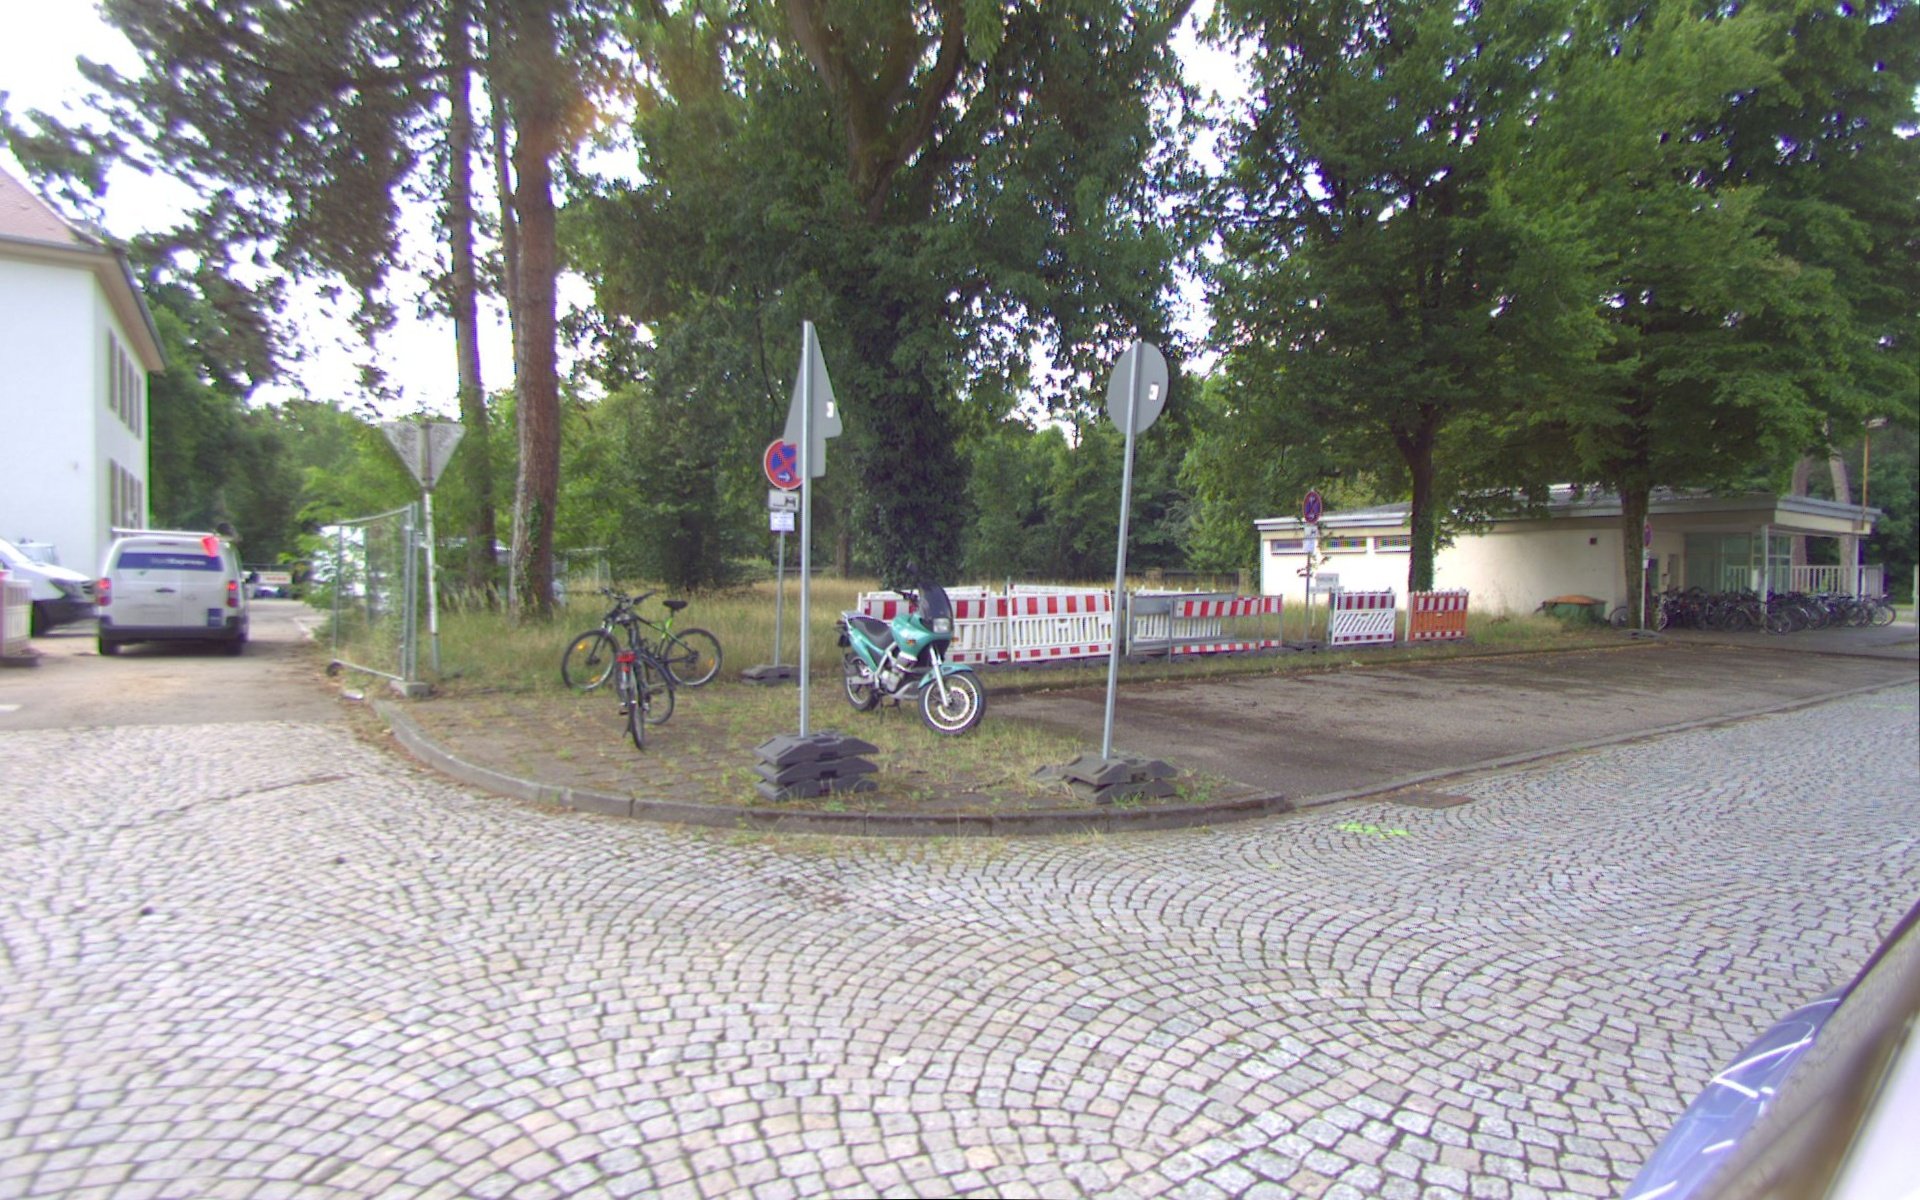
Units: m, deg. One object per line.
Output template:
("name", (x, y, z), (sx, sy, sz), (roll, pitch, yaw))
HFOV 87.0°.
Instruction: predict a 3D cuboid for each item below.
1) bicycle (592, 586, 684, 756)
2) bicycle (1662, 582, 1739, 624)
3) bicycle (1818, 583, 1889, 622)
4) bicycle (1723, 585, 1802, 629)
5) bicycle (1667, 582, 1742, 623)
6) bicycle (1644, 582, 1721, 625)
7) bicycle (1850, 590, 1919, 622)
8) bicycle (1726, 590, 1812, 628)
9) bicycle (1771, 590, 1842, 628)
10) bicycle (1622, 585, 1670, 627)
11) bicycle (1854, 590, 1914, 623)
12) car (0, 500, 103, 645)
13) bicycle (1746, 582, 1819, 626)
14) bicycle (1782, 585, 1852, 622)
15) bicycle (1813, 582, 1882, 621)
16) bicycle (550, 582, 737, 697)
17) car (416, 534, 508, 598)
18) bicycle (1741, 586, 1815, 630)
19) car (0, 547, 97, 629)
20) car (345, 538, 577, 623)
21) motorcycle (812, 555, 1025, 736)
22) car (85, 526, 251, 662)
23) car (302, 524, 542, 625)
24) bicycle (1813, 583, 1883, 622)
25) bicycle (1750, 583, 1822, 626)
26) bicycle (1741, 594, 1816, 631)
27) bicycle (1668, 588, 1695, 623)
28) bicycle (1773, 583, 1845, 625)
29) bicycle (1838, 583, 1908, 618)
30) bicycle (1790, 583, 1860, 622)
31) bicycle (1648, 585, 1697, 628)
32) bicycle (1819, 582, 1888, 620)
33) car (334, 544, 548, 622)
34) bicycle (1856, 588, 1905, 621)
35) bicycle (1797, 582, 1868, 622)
("bicycle", (-2.644, 0.505, 8.374), (0.642, 1.212, 1.909), (0, 1, -17))
("bicycle", (22.301, 0.066, 30.505), (0.597, 1.179, 1.744), (0, 3, -40))
("bicycle", (28.288, 0.056, 32.056), (0.320, 1.155, 1.615), (0, 3, -43))
("bicycle", (22.287, 0.180, 28.132), (1.675, 1.122, 0.333), (3, 3, 41))
("bicycle", (22.920, 0.053, 31.190), (0.597, 1.179, 1.744), (0, 3, -40))
("bicycle", (21.412, 0.083, 30.013), (0.597, 1.179, 1.744), (0, 3, -40))
("bicycle", (30.703, 0.190, 33.565), (1.725, 1.059, 0.452), (0, 0, 16))
("bicycle", (22.889, 0.233, 28.684), (1.727, 0.988, 0.753), (2, 2, 24))
("bicycle", (25.986, 0.261, 31.079), (1.628, 1.063, 0.329), (3, 3, 40))
("bicycle", (19.100, 0.151, 28.175), (1.605, 1.130, 0.598), (0, 2, -38))
("bicycle", (30.201, 0.214, 33.102), (1.393, 1.059, 0.336), (0, 1, 28))
("car", (-19.145, -0.462, 17.952), (5.797, 2.588, 2.000), (-1, 0, -34))
("bicycle", (24.341, 0.104, 29.982), (1.629, 1.204, 0.413), (3, 3, 42))
("bicycle", (26.506, 0.085, 31.332), (0.320, 1.063, 1.593), (0, 3, -43))
("bicycle", (28.498, 0.032, 32.519), (0.350, 1.155, 1.615), (0, 3, -43))
("bicycle", (-3.517, 0.413, 11.316), (1.868, 1.184, 0.644), (1, 1, -34))
("car", (-18.443, -1.176, 37.270), (2.170, 2.122, 6.162), (-1, 0, -34))
("bicycle", (23.930, 0.224, 29.625), (1.628, 1.204, 0.466), (3, 3, 41))
("car", (-22.990, -0.257, 23.108), (4.782, 1.848, 2.000), (-1, 0, -35))
("car", (-11.879, -0.440, 24.488), (1.980, 1.848, 4.829), (-1, 0, 27))
("motorcycle", (-0.451, 0.342, 9.481), (0.743, 1.503, 2.281), (0, 2, -40))
("car", (-13.105, -0.120, 17.020), (1.870, 1.945, 4.875), (1, 0, -35))
("car", (-15.474, -0.694, 29.653), (1.978, 2.610, 6.370), (-1, 0, 24))
("bicycle", (27.952, 0.062, 31.876), (0.320, 1.155, 1.615), (0, 3, -43))
("bicycle", (24.793, 0.121, 30.382), (1.629, 1.204, 0.413), (3, 3, 42))
("bicycle", (23.537, 0.340, 29.119), (1.617, 0.988, 0.320), (2, 2, 25))
("bicycle", (23.279, 0.167, 32.637), (0.478, 1.089, 1.656), (3, 3, 42))
("bicycle", (25.629, 0.107, 30.570), (1.629, 1.204, 0.491), (3, 3, 42))
("bicycle", (30.784, 0.005, 34.144), (1.714, 1.146, 0.472), (0, 0, 14))
("bicycle", (26.908, 0.060, 31.506), (0.320, 1.155, 1.593), (0, 3, -43))
("bicycle", (19.490, 0.173, 27.679), (1.605, 1.130, 0.598), (0, 2, -38))
("bicycle", (29.019, 0.020, 32.887), (0.350, 1.155, 1.615), (0, 3, -43))
("car", (-13.544, -0.424, 26.749), (1.980, 1.848, 4.829), (-1, 0, 27))
("bicycle", (29.873, 0.137, 32.845), (1.145, 1.076, 0.284), (0, 1, 34))
("bicycle", (27.458, 0.050, 31.869), (0.320, 1.155, 1.615), (0, 3, -43))
